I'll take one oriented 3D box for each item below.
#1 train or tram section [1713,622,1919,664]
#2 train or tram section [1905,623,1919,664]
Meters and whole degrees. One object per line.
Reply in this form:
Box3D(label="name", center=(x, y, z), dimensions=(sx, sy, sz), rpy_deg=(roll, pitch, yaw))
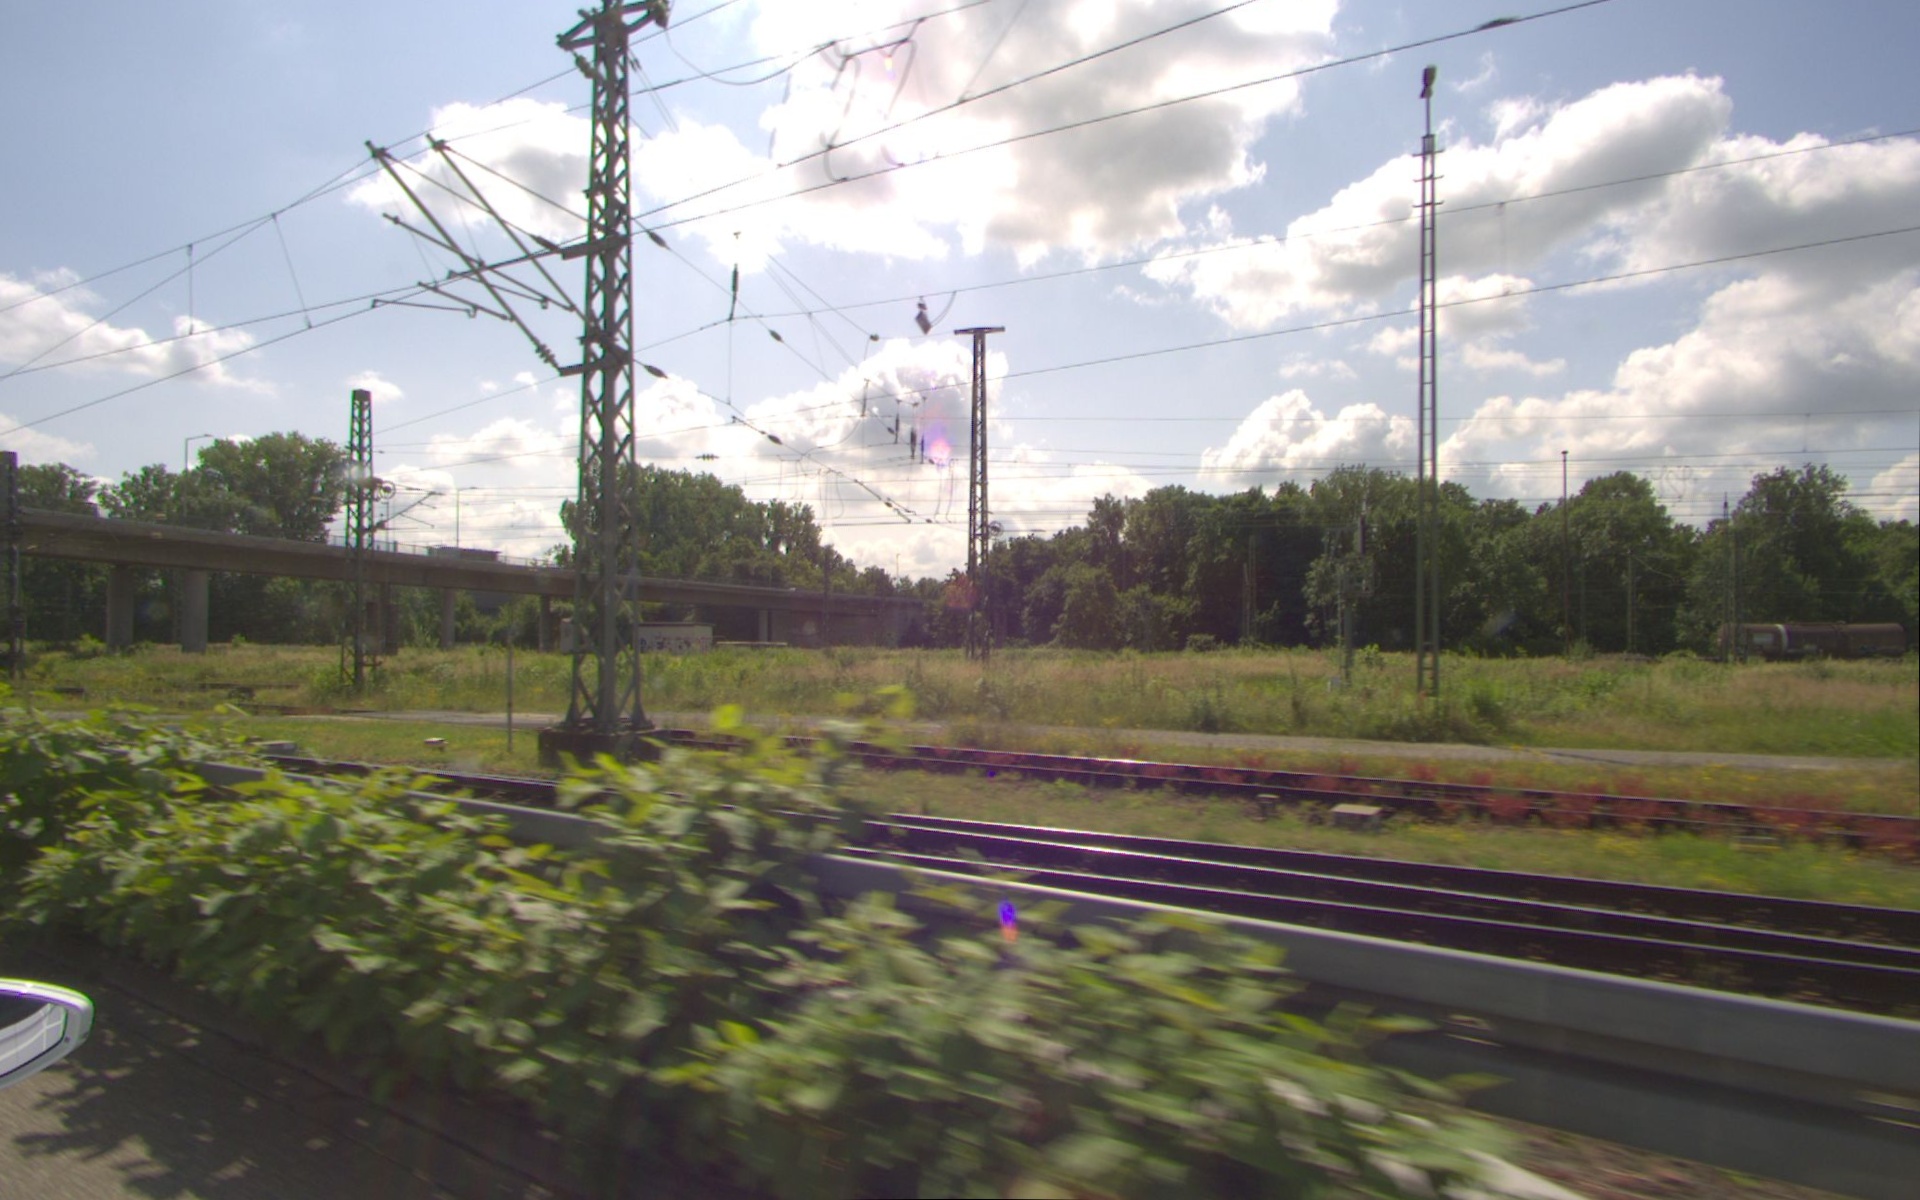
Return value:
Box3D(label="train or tram section", center=(71.190, 3.578, 83.106), dimensions=(13.683, 3.346, 3.033), rpy_deg=(-1, -2, 15))
Box3D(label="train or tram section", center=(85.289, 3.422, 79.312), dimensions=(15.470, 3.346, 3.033), rpy_deg=(-1, -2, 15))
